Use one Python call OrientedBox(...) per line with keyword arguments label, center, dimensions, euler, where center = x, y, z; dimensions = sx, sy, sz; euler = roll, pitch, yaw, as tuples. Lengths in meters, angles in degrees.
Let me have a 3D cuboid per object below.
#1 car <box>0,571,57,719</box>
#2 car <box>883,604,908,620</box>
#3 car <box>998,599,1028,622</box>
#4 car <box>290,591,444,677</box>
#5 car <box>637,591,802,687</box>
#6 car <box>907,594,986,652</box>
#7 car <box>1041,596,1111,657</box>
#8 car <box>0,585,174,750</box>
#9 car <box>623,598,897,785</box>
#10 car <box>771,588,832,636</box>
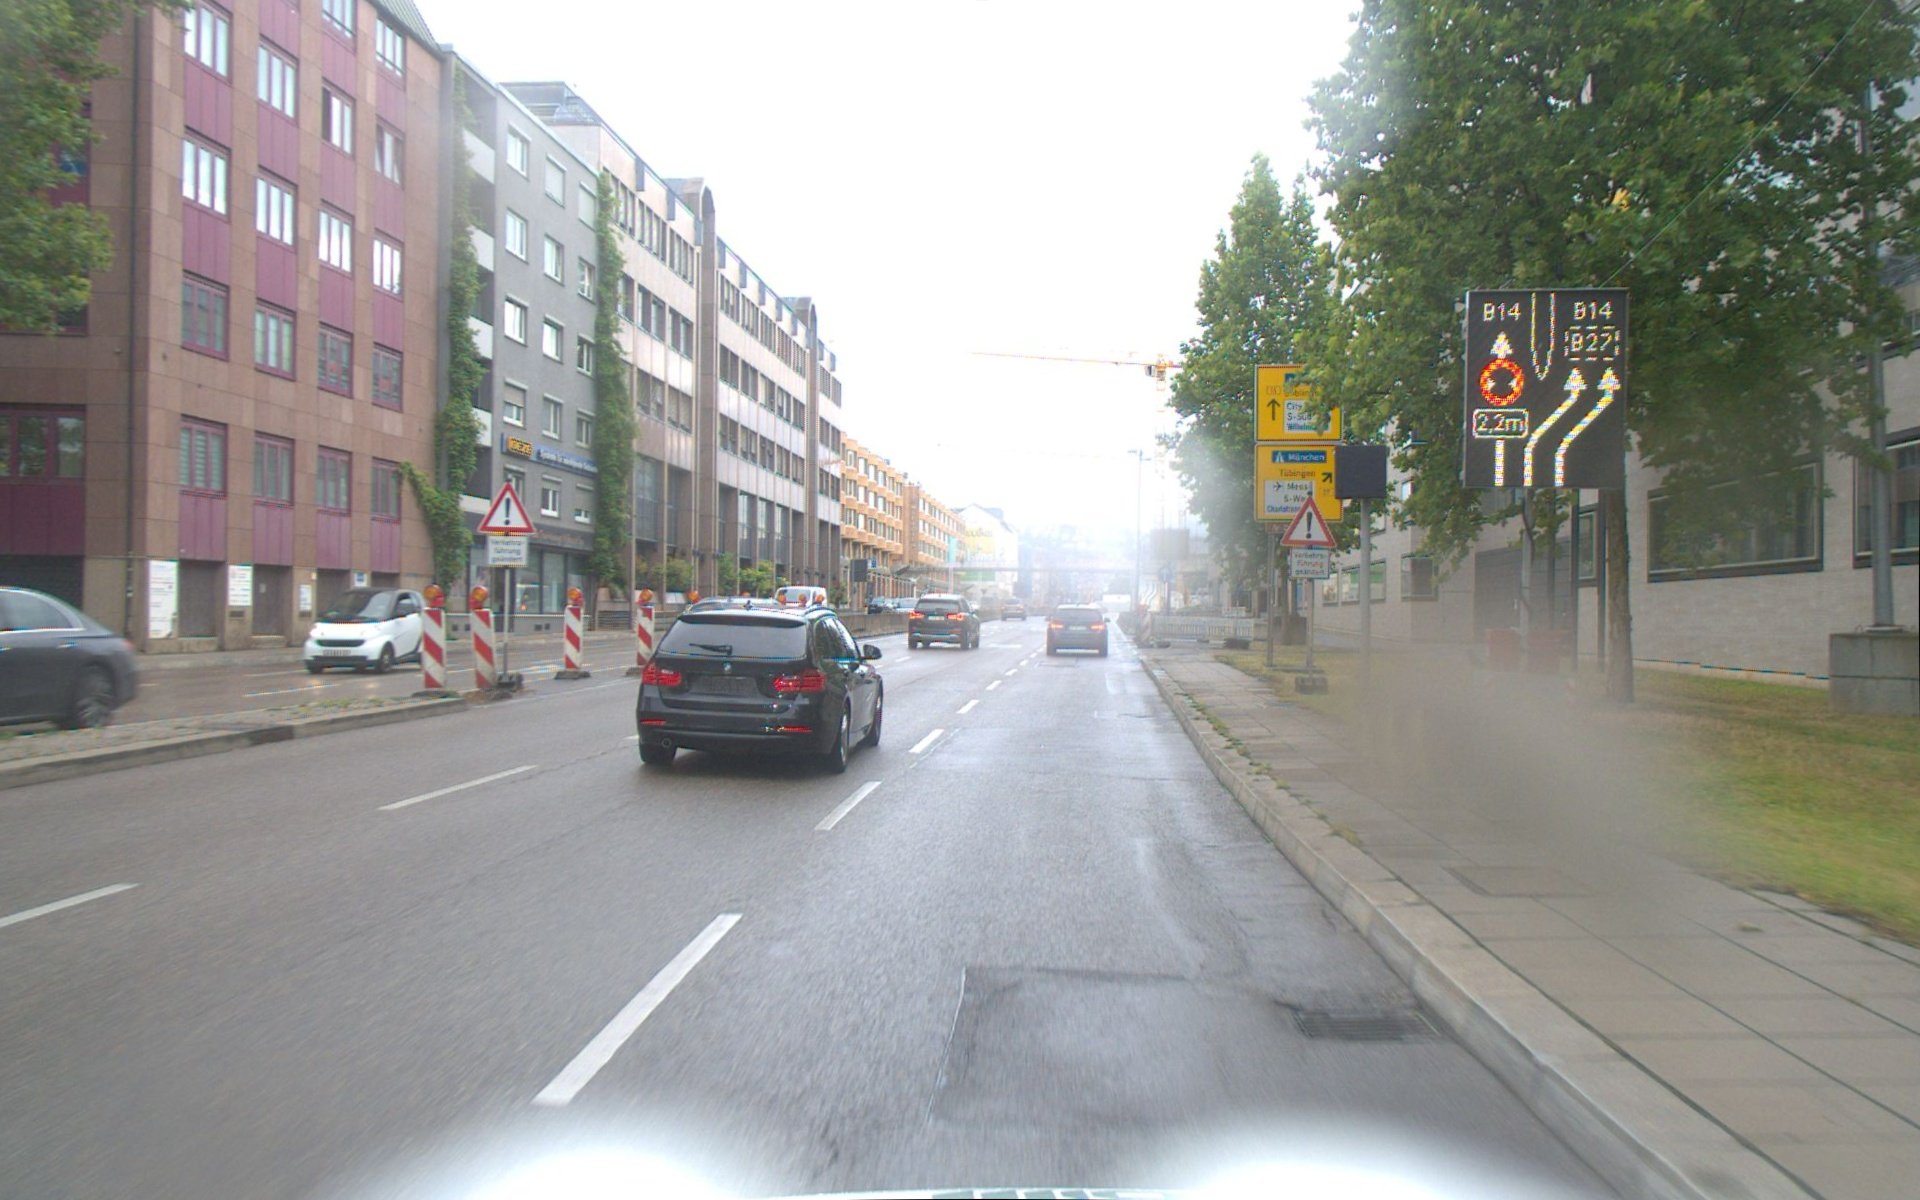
OrientedBox(label="car", center=(-12.137, 0.532, 17.730), dimensions=(1.952, 1.707, 4.940), euler=(-1, 0, 4))
OrientedBox(label="car", center=(-6.599, 1.255, 169.997), dimensions=(1.951, 1.648, 4.766), euler=(0, 0, 5))
OrientedBox(label="car", center=(4.068, 0.818, 125.670), dimensions=(1.859, 1.723, 4.003), euler=(0, 0, 8))
OrientedBox(label="car", center=(-10.933, 0.620, 30.673), dimensions=(1.522, 1.510, 2.951), euler=(0, -1, 7))
OrientedBox(label="car", center=(-3.862, 0.612, 27.320), dimensions=(1.753, 1.451, 4.387), euler=(0, 0, 5))
OrientedBox(label="car", center=(-0.373, 0.707, 51.237), dimensions=(1.859, 1.723, 4.003), euler=(0, 0, 8))
OrientedBox(label="car", center=(3.468, 0.761, 48.677), dimensions=(1.859, 1.723, 4.003), euler=(0, 0, 7))
OrientedBox(label="car", center=(-9.465, 0.612, 14.931), dimensions=(1.951, 1.463, 4.941), euler=(-1, 0, 6))
OrientedBox(label="car", center=(-1.707, 0.738, 15.659), dimensions=(1.754, 1.451, 4.615), euler=(2, 0, 3))
OrientedBox(label="car", center=(-7.006, 0.524, 73.599), dimensions=(1.952, 2.025, 5.290), euler=(0, 0, 2))
